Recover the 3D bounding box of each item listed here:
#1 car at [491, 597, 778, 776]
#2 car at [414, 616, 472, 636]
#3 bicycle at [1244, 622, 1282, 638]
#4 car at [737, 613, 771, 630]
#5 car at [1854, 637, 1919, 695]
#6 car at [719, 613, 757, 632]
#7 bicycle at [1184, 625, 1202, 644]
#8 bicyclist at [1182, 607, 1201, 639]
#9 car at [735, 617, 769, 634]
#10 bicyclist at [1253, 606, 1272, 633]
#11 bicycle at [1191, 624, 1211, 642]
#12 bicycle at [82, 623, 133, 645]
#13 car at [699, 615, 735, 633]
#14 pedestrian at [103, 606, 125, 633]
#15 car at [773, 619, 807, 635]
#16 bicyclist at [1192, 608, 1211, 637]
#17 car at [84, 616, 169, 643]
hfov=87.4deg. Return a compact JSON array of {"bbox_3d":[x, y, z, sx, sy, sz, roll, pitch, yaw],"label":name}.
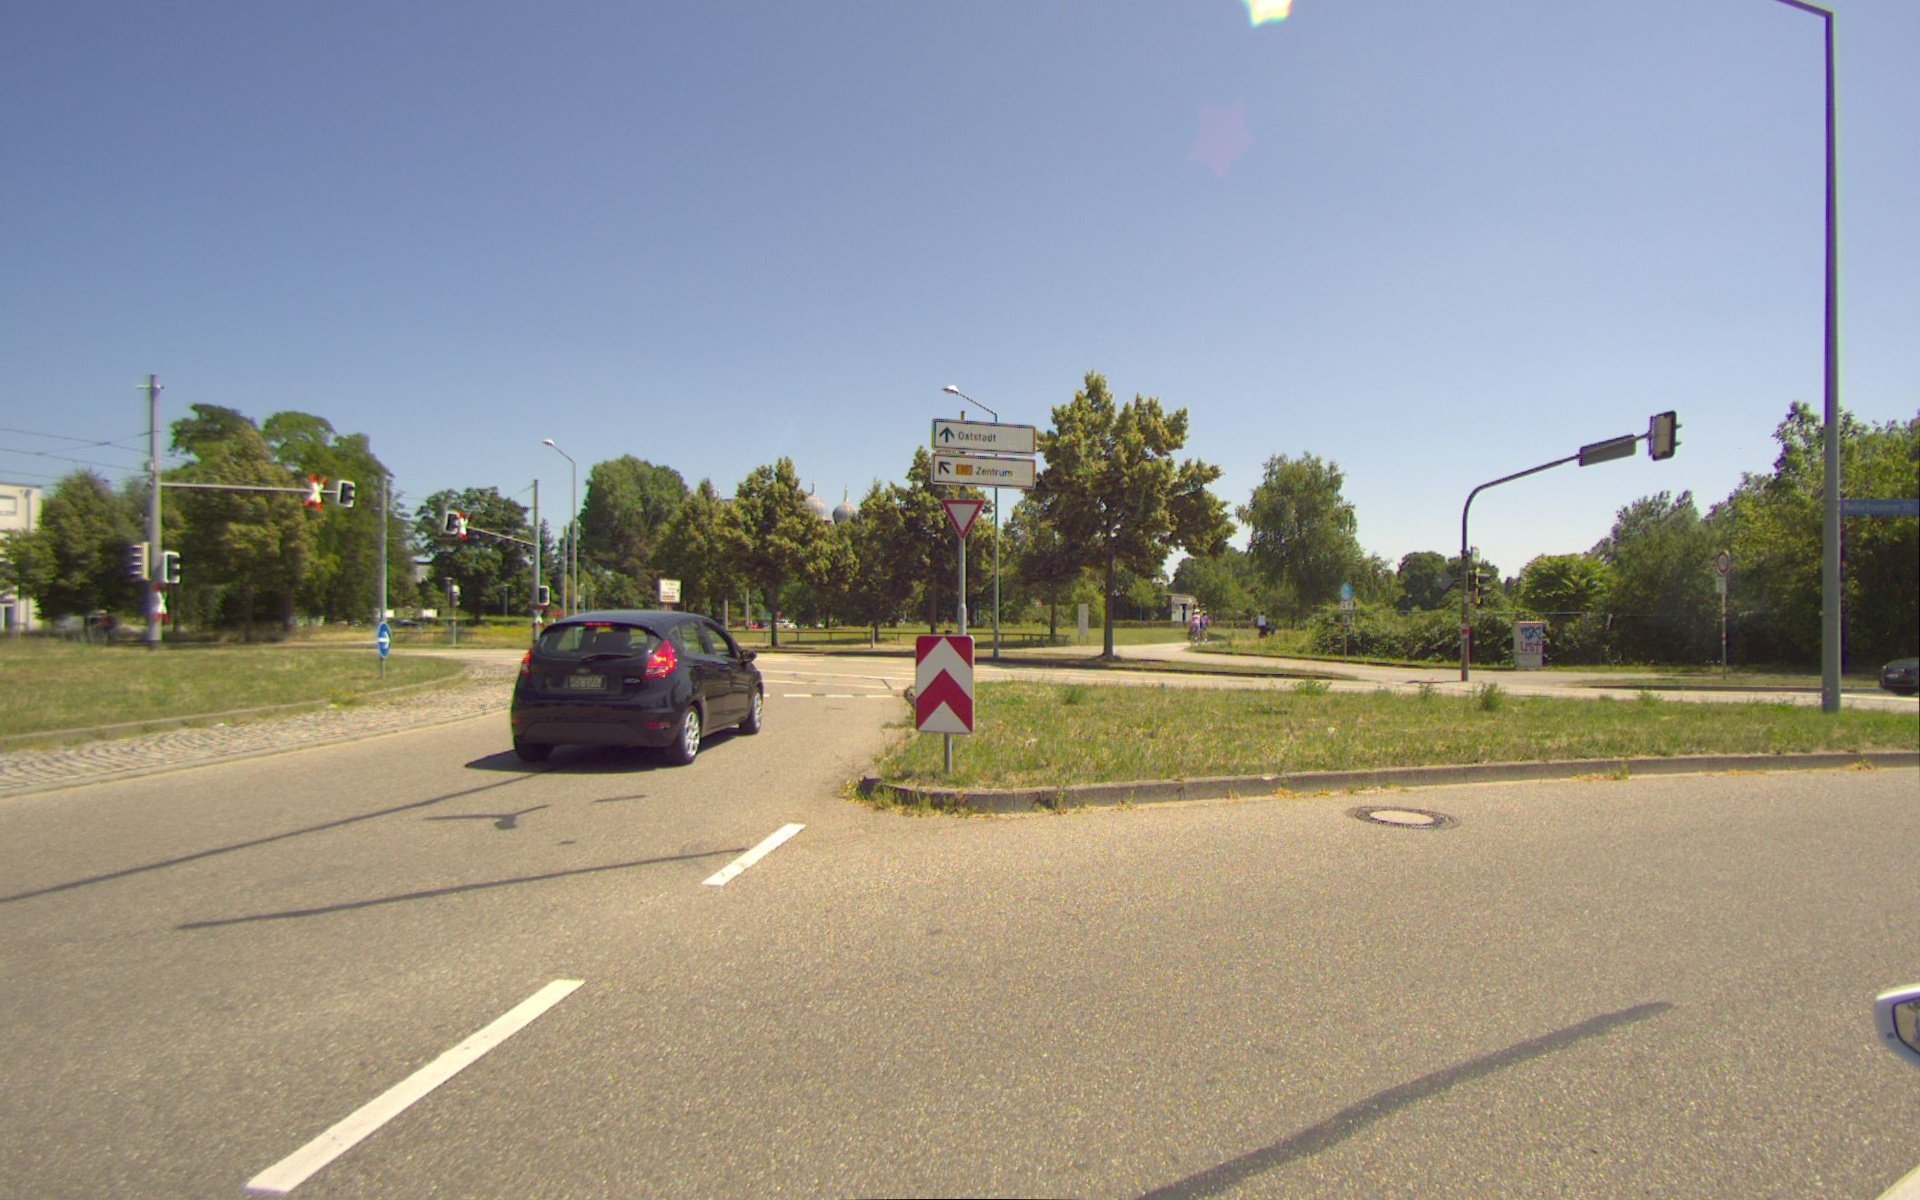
[{"bbox_3d":[-3.201,0.796,10.704,1.601,1.528,3.821,1,-1,3],"label":"car"},{"bbox_3d":[-43.876,2.219,85.318,3.926,1.594,1.998,1,-2,-7],"label":"car"},{"bbox_3d":[18.161,1.804,60.195,2.907,0.924,0.732,3,-3,-41],"label":"bicycle"},{"bbox_3d":[-26.015,2.779,127.141,3.923,2.040,1.999,1,-2,-4],"label":"car"},{"bbox_3d":[24.083,1.543,23.735,4.321,1.287,1.864,0,-1,-1],"label":"car"},{"bbox_3d":[-24.960,2.600,113.122,3.923,2.040,1.999,1,-2,-4],"label":"car"},{"bbox_3d":[12.021,1.778,51.827,0.880,0.912,2.228,1,-2,13],"label":"bicycle"},{"bbox_3d":[11.930,1.171,51.738,0.940,1.631,1.187,0,-2,13],"label":"bicyclist"},{"bbox_3d":[-25.806,3.137,124.653,3.923,2.040,1.999,1,-2,-4],"label":"car"},{"bbox_3d":[18.140,1.172,60.212,0.971,1.635,0.747,3,-3,-42],"label":"bicyclist"},{"bbox_3d":[13.357,1.798,55.617,0.881,0.912,1.762,1,1,18],"label":"bicycle"},{"bbox_3d":[-45.943,1.829,54.159,2.039,1.129,0.722,3,-3,-37],"label":"bicycle"},{"bbox_3d":[-29.020,2.899,120.130,3.923,2.040,1.999,1,-2,-4],"label":"car"},{"bbox_3d":[-45.757,1.068,54.318,0.811,1.469,0.702,2,-3,-37],"label":"pedestrian"},{"bbox_3d":[-22.365,3.508,132.146,3.920,2.040,2.001,1,-2,3],"label":"car"},{"bbox_3d":[13.366,1.221,55.620,0.941,1.552,1.186,0,0,18],"label":"bicyclist"},{"bbox_3d":[-55.637,2.018,67.108,1.967,1.706,3.988,-1,-3,35],"label":"car"}]
